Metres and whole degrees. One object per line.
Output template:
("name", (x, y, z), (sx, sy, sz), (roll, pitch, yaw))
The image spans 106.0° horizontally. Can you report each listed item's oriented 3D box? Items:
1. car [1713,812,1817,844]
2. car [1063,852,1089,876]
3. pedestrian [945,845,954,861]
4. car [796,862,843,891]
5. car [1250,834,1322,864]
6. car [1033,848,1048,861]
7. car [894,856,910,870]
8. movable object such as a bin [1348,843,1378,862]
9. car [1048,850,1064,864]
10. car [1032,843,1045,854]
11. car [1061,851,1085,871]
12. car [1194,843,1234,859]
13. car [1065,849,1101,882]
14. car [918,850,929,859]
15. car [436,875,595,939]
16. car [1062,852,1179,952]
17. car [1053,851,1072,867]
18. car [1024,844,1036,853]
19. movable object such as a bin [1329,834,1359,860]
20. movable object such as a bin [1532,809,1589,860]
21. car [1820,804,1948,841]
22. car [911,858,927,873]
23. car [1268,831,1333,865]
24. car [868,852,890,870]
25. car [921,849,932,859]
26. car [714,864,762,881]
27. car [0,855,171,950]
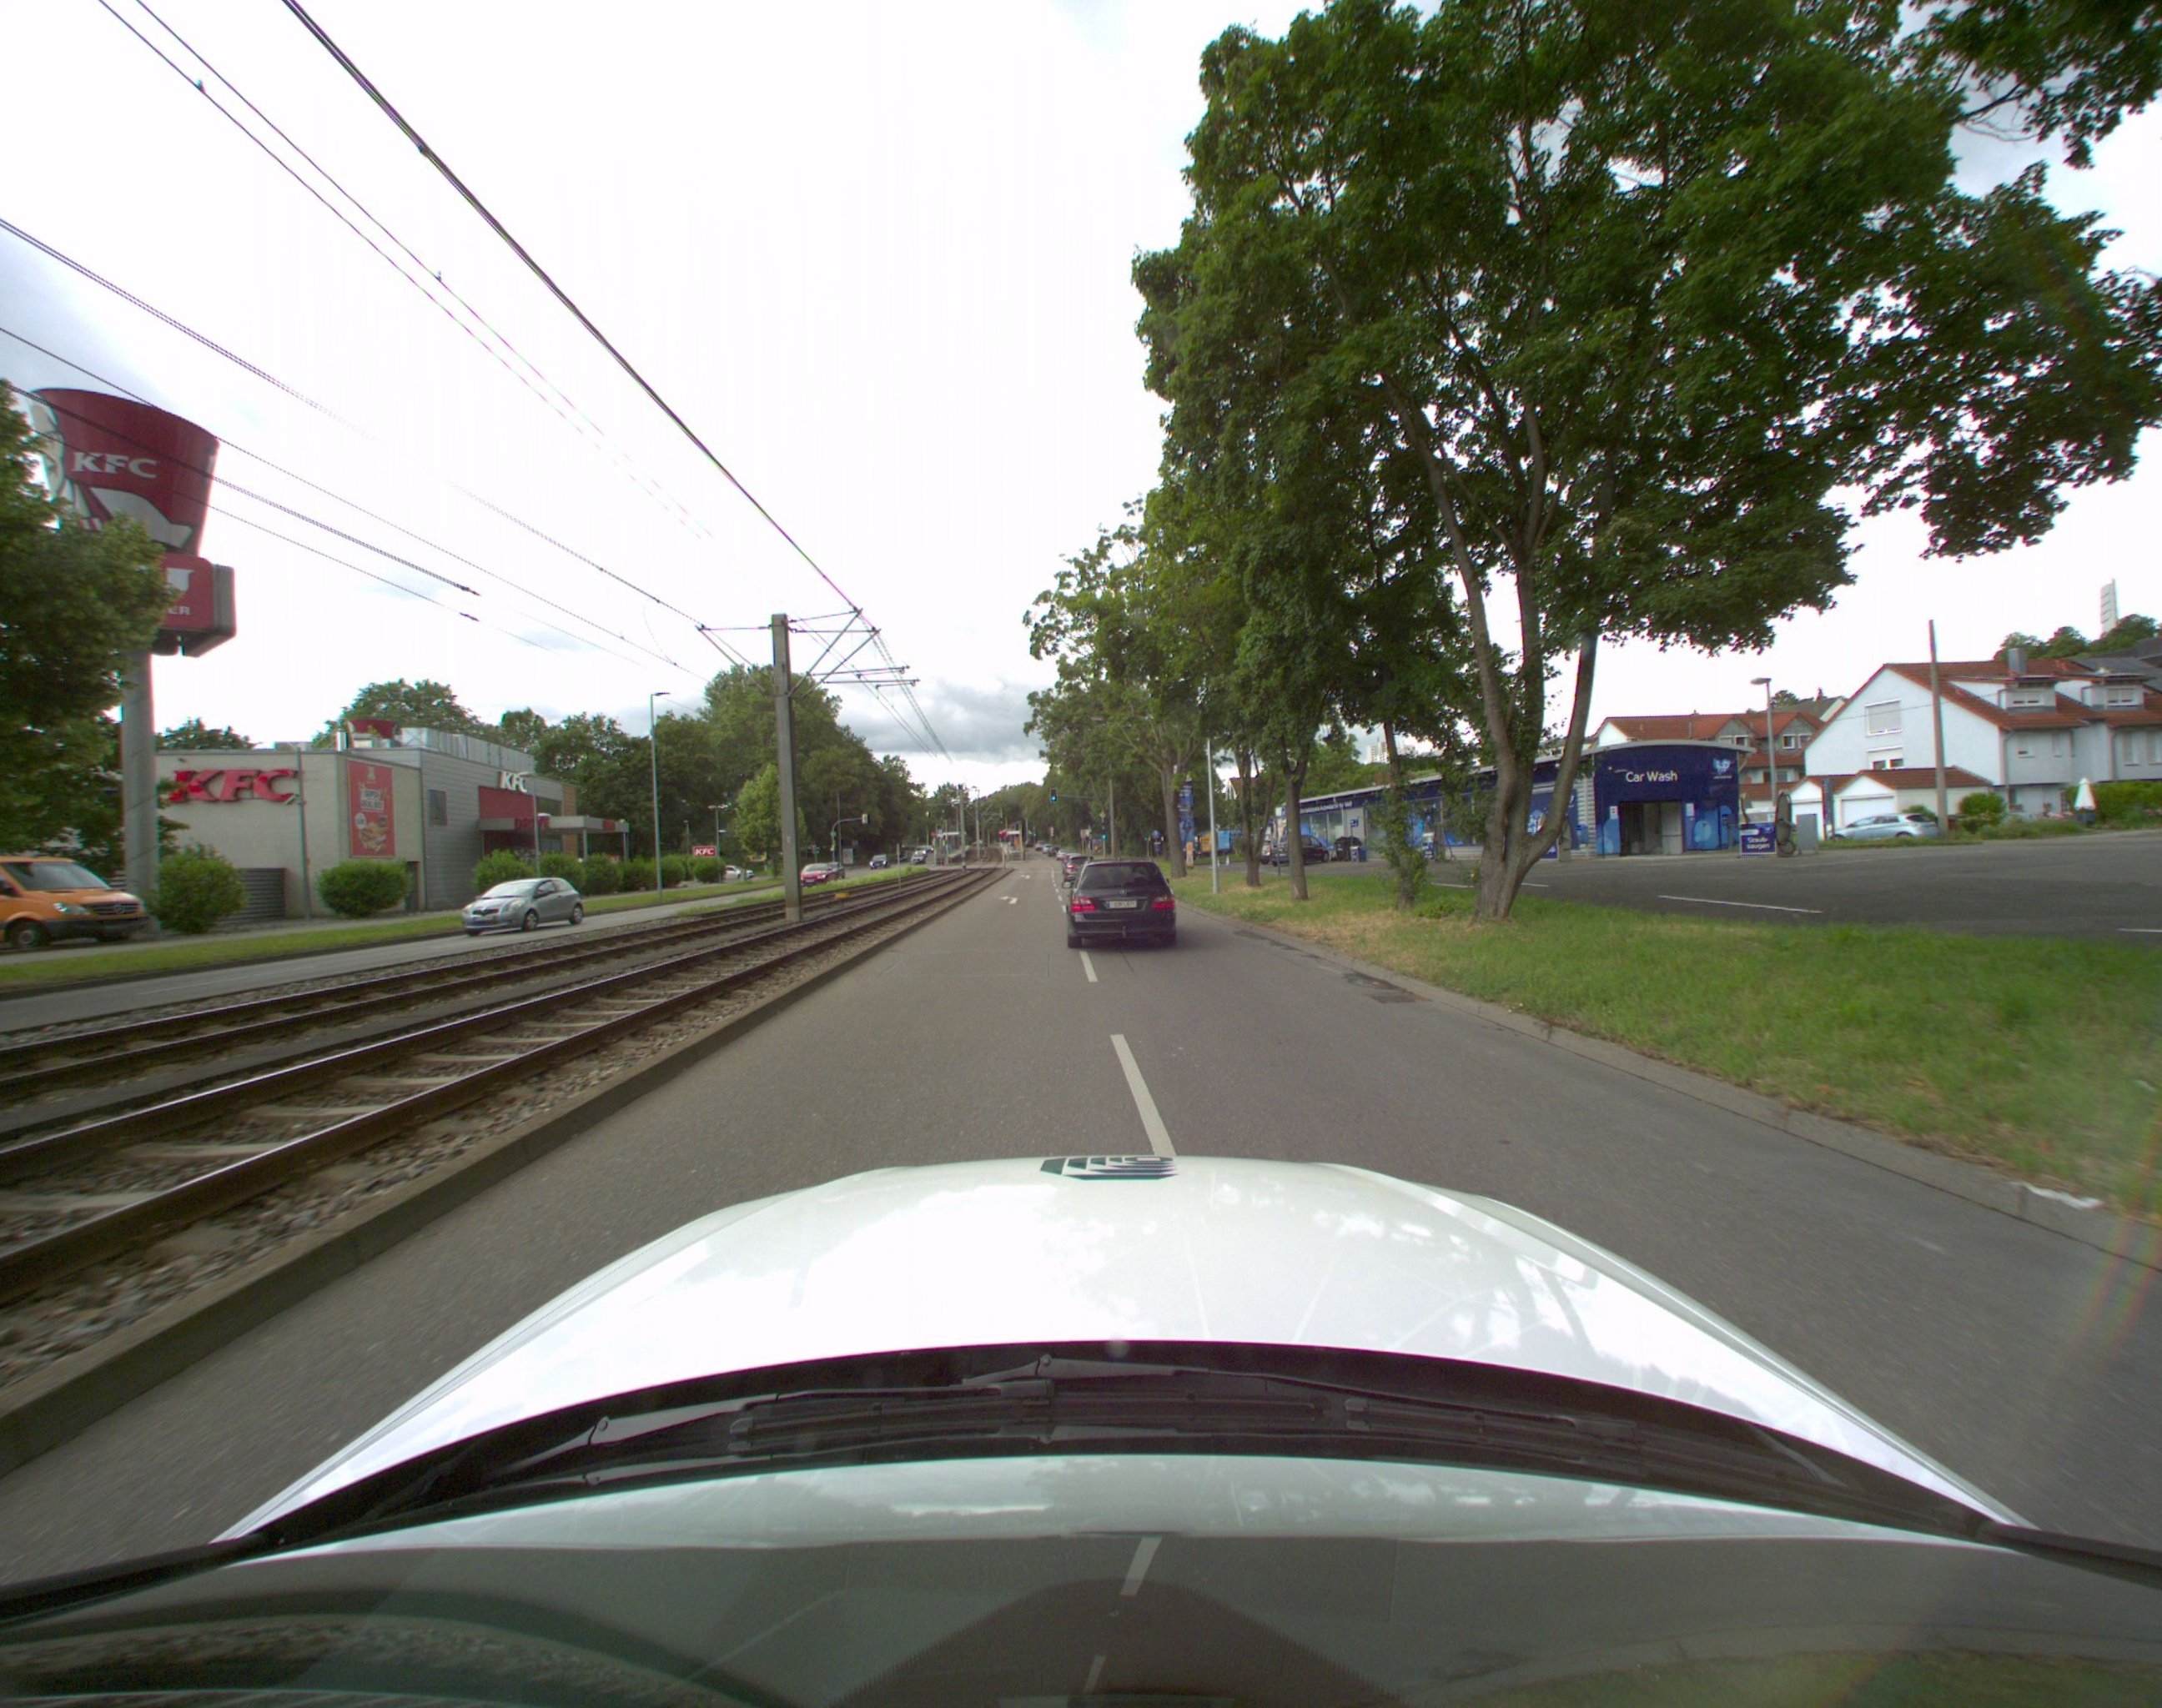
("car", (36.839, -1.361, 44.012), (1.785, 1.575, 3.975), (0, 0, -19))
("car", (-0.350, 0.675, 56.942), (1.776, 1.648, 3.999), (0, 0, 0))
("pedestrian", (-17.740, -0.171, 109.958), (0.968, 2.185, 0.974), (-2, 0, -5))
("car", (-16.510, 1.381, 51.574), (1.780, 1.582, 4.473), (-4, 0, -5))
("car", (13.238, -0.321, 52.607), (4.215, 1.697, 1.827), (-3, 1, -21))
("car", (-6.826, 0.073, 136.430), (1.994, 2.013, 3.986), (0, 0, -10))
("car", (-27.264, 1.303, 124.270), (1.992, 2.013, 4.097), (-3, 0, -7))
("movable object such as a bin", (15.765, -0.092, 45.566), (1.157, 0.976, 1.185), (-3, 0, -7))
("car", (-3.696, 0.417, 119.685), (1.991, 1.966, 3.991), (0, 0, -7))
("car", (-7.993, -0.977, 153.665), (1.994, 2.013, 3.986), (0, 0, -10))
("car", (-0.810, 0.680, 78.998), (1.991, 1.918, 3.991), (0, 0, -7))
("car", (14.656, -0.327, 89.818), (4.136, 1.526, 1.705), (-2, 0, 2))
("car", (0.093, 0.603, 42.802), (1.776, 1.648, 3.999), (0, 0, 0))
("car", (-28.814, 0.071, 148.939), (1.684, 1.445, 3.991), (-4, 0, -7))
("car", (-16.597, 1.494, 24.181), (1.990, 1.482, 3.994), (-5, 0, -4))
("car", (0.557, 0.733, 14.394), (1.777, 1.525, 3.997), (0, 0, -2))
("car", (-2.264, 0.573, 100.698), (1.991, 1.893, 3.991), (0, 0, -7))
("car", (-11.240, -1.270, 179.157), (1.997, 2.013, 3.980), (0, 0, -15))
("movable object such as a bin", (15.696, -0.404, 48.596), (1.157, 1.474, 1.384), (-3, 0, -7))
("movable object such as a bin", (18.001, -0.733, 30.619), (1.157, 1.818, 1.452), (-3, 0, -7))
("car", (38.131, -1.437, 38.801), (1.786, 1.575, 3.974), (0, 0, -19))
("car", (-20.680, 1.480, 103.899), (1.695, 1.860, 3.991), (0, 0, -6))
("car", (13.090, -0.374, 48.433), (1.729, 1.821, 4.411), (-3, 0, 44))
("car", (-23.474, 0.778, 94.740), (1.992, 2.013, 4.237), (-3, 0, -7))
("car", (-32.851, 0.031, 173.268), (1.992, 2.013, 4.097), (-3, 0, -7))
("car", (-34.009, 1.848, 80.832), (3.871, 1.408, 1.844), (-3, 0, -4))
("car", (-25.070, 1.112, 19.532), (3.979, 2.165, 2.056), (0, 0, -4))
